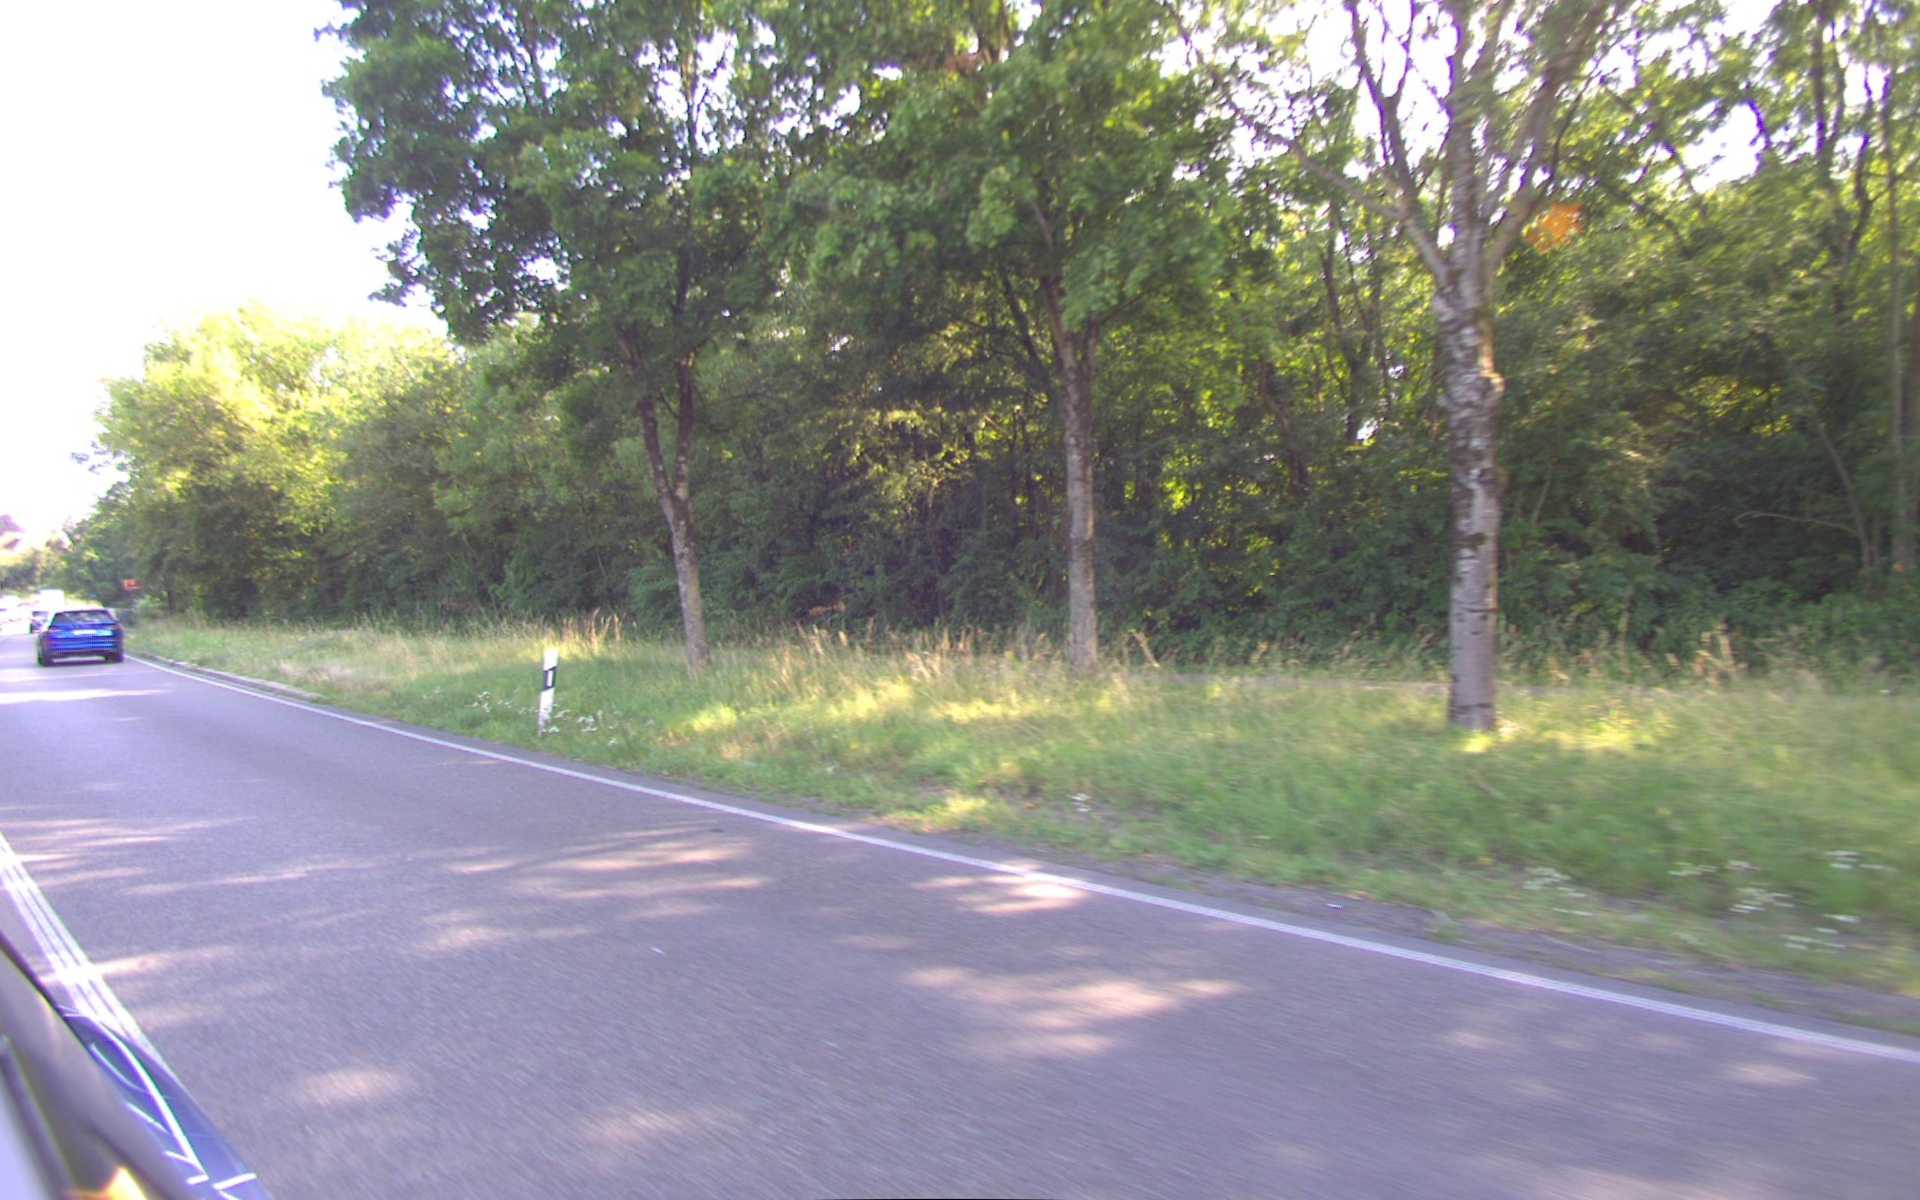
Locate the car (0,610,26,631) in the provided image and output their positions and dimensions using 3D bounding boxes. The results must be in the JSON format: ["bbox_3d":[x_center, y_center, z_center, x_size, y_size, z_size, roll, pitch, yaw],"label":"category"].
[{"bbox_3d":[-111.475,2.363,118.903,2.056,2.435,5.153,-1,0,-38],"label":"car"}]

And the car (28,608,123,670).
[{"bbox_3d":[-25.835,1.077,29.516,1.874,1.644,4.254,-1,0,-44],"label":"car"}]

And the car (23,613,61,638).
[{"bbox_3d":[-64.511,1.787,71.155,1.867,1.644,4.257,-1,0,-41],"label":"car"}]

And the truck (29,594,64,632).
[{"bbox_3d":[-130.720,1.857,144.907,3.579,5.210,10.473,-1,-1,-42],"label":"truck"}]

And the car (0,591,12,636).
[{"bbox_3d":[-55.002,0.773,56.794,5.139,2.435,2.062,-1,0,41],"label":"car"}]
